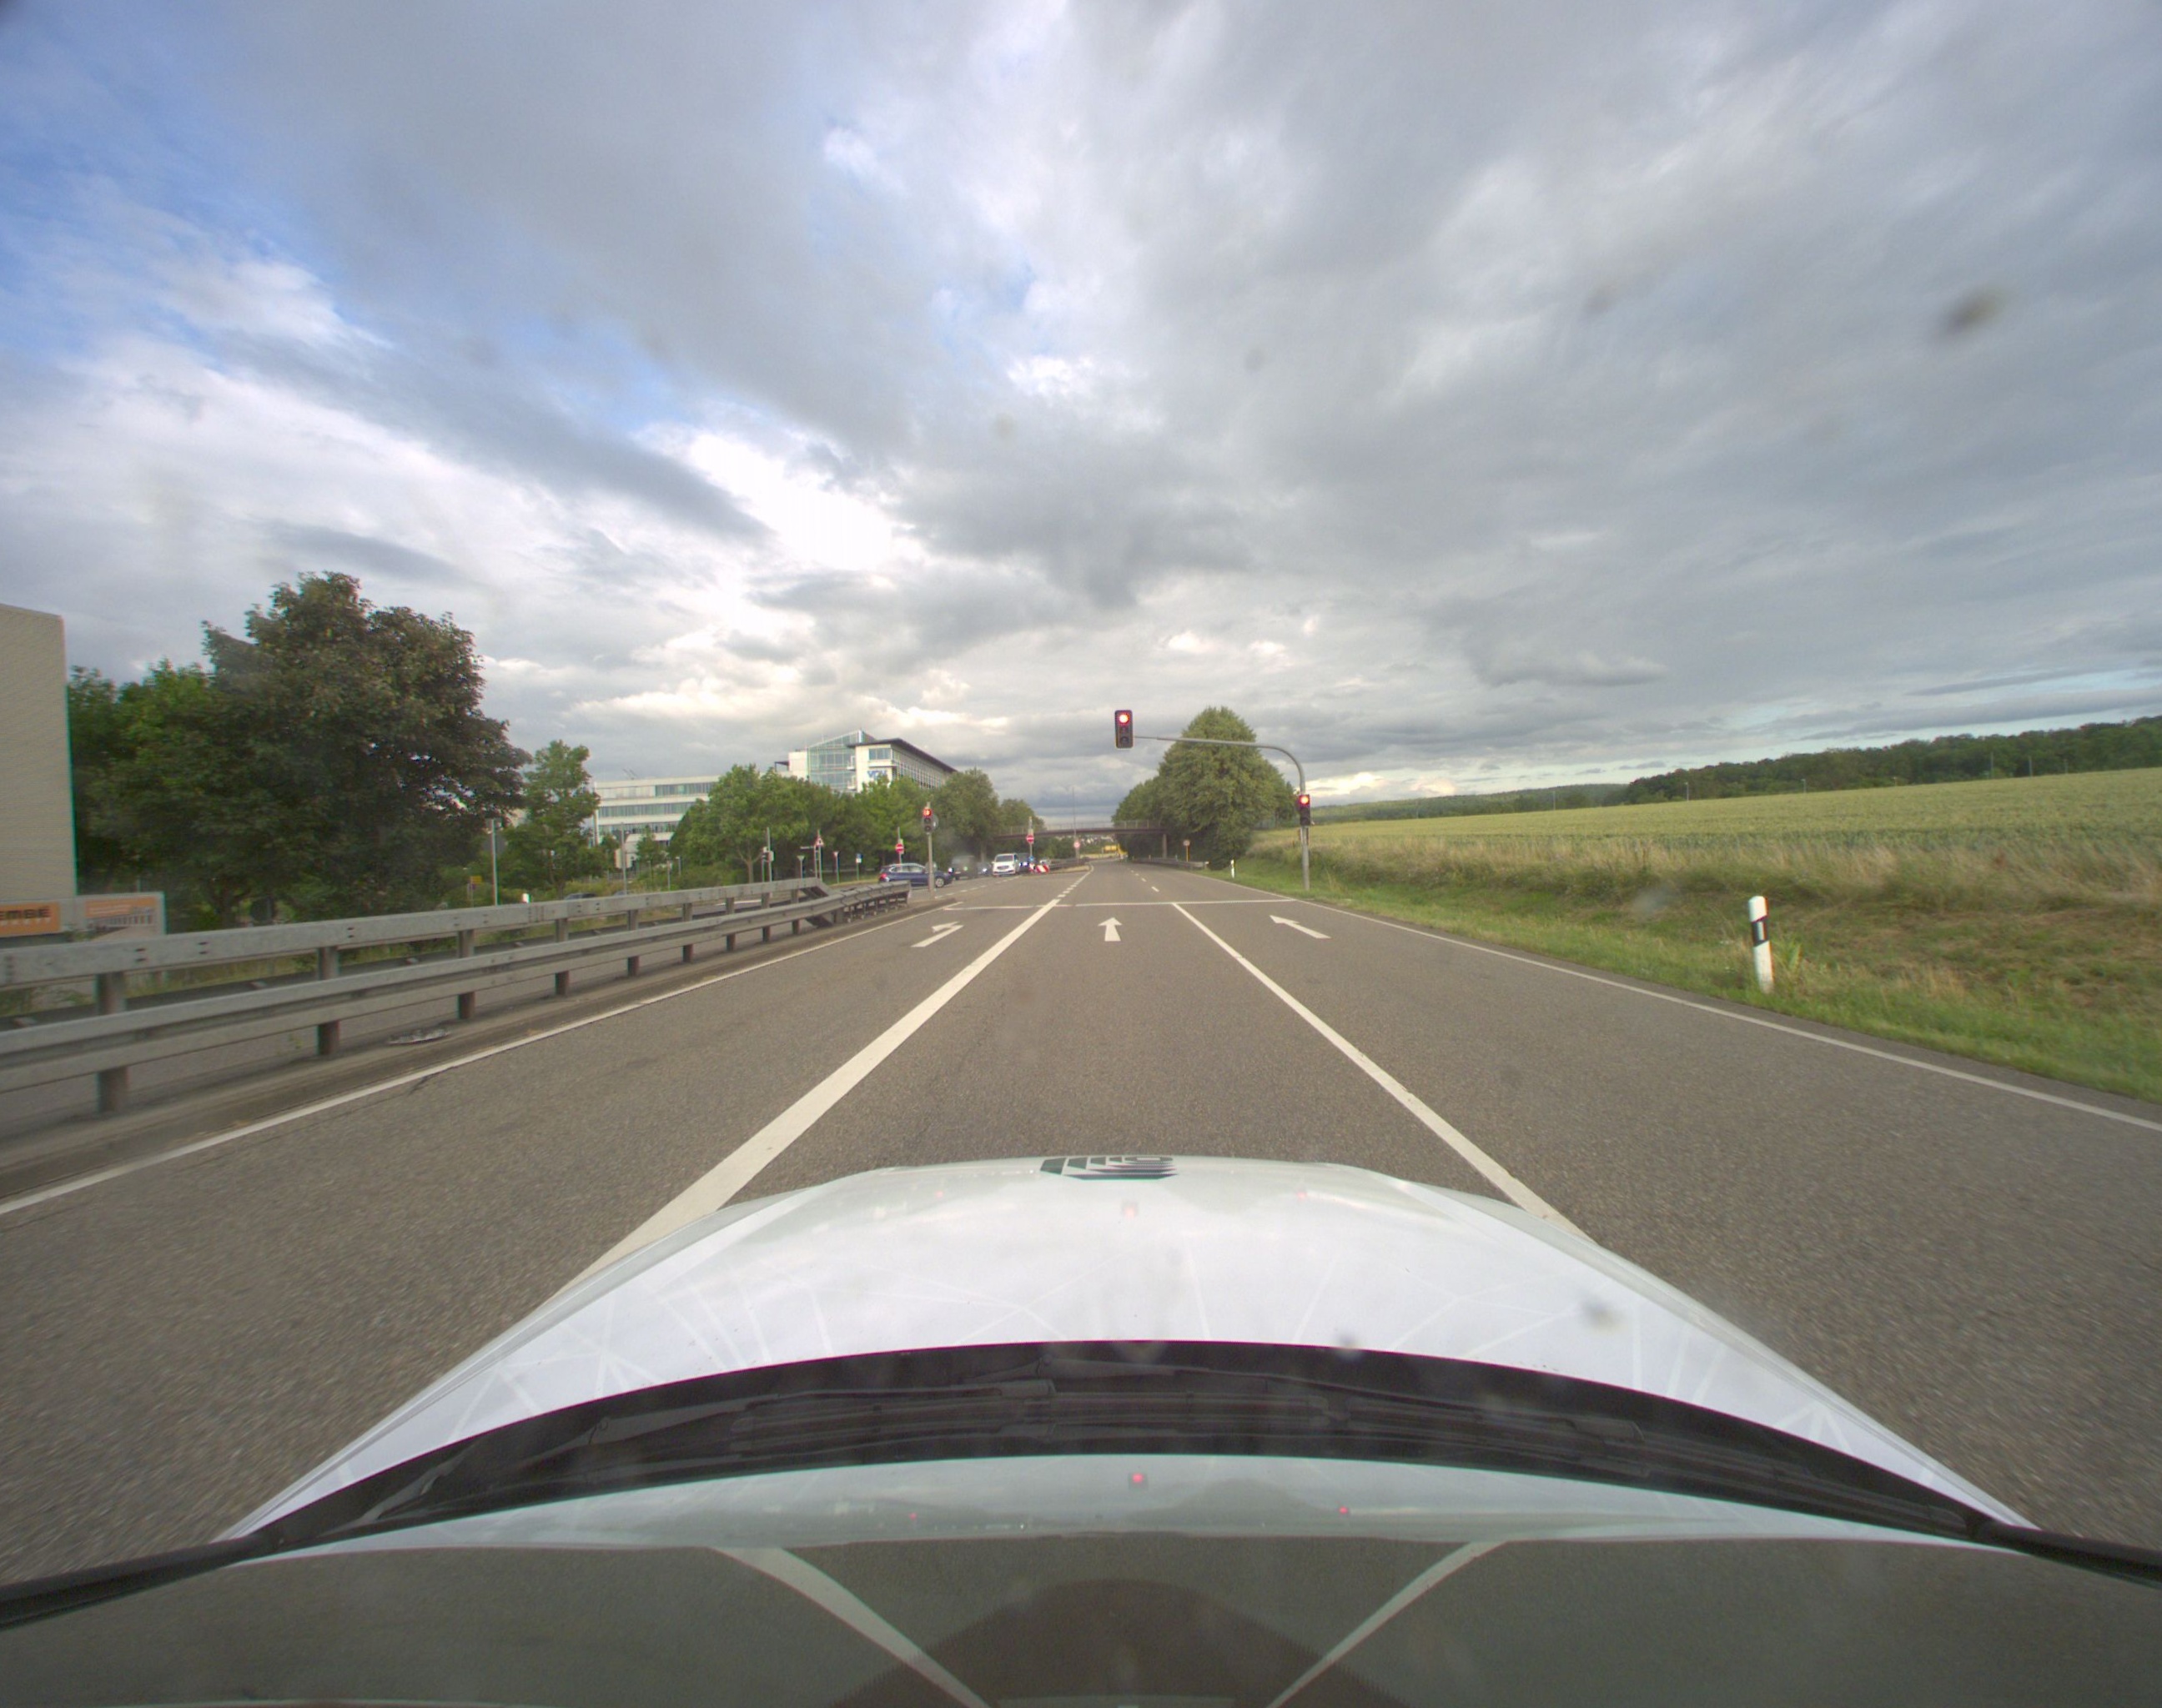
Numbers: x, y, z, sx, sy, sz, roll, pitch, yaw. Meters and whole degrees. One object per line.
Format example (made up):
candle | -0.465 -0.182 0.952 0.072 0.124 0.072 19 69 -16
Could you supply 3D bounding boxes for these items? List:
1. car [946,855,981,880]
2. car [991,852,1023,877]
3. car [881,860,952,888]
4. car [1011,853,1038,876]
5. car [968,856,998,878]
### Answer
car | -9.823 1.140 68.671 2.076 2.014 5.217 -1 0 1
car | -6.205 0.885 68.681 2.076 2.014 5.217 -1 0 1
car | -9.731 1.157 48.115 3.995 1.552 1.876 -1 -1 -16
car | -5.253 0.974 76.397 2.076 2.014 5.217 -1 0 1
car | -9.093 1.187 76.158 2.076 2.014 5.217 -1 0 1
